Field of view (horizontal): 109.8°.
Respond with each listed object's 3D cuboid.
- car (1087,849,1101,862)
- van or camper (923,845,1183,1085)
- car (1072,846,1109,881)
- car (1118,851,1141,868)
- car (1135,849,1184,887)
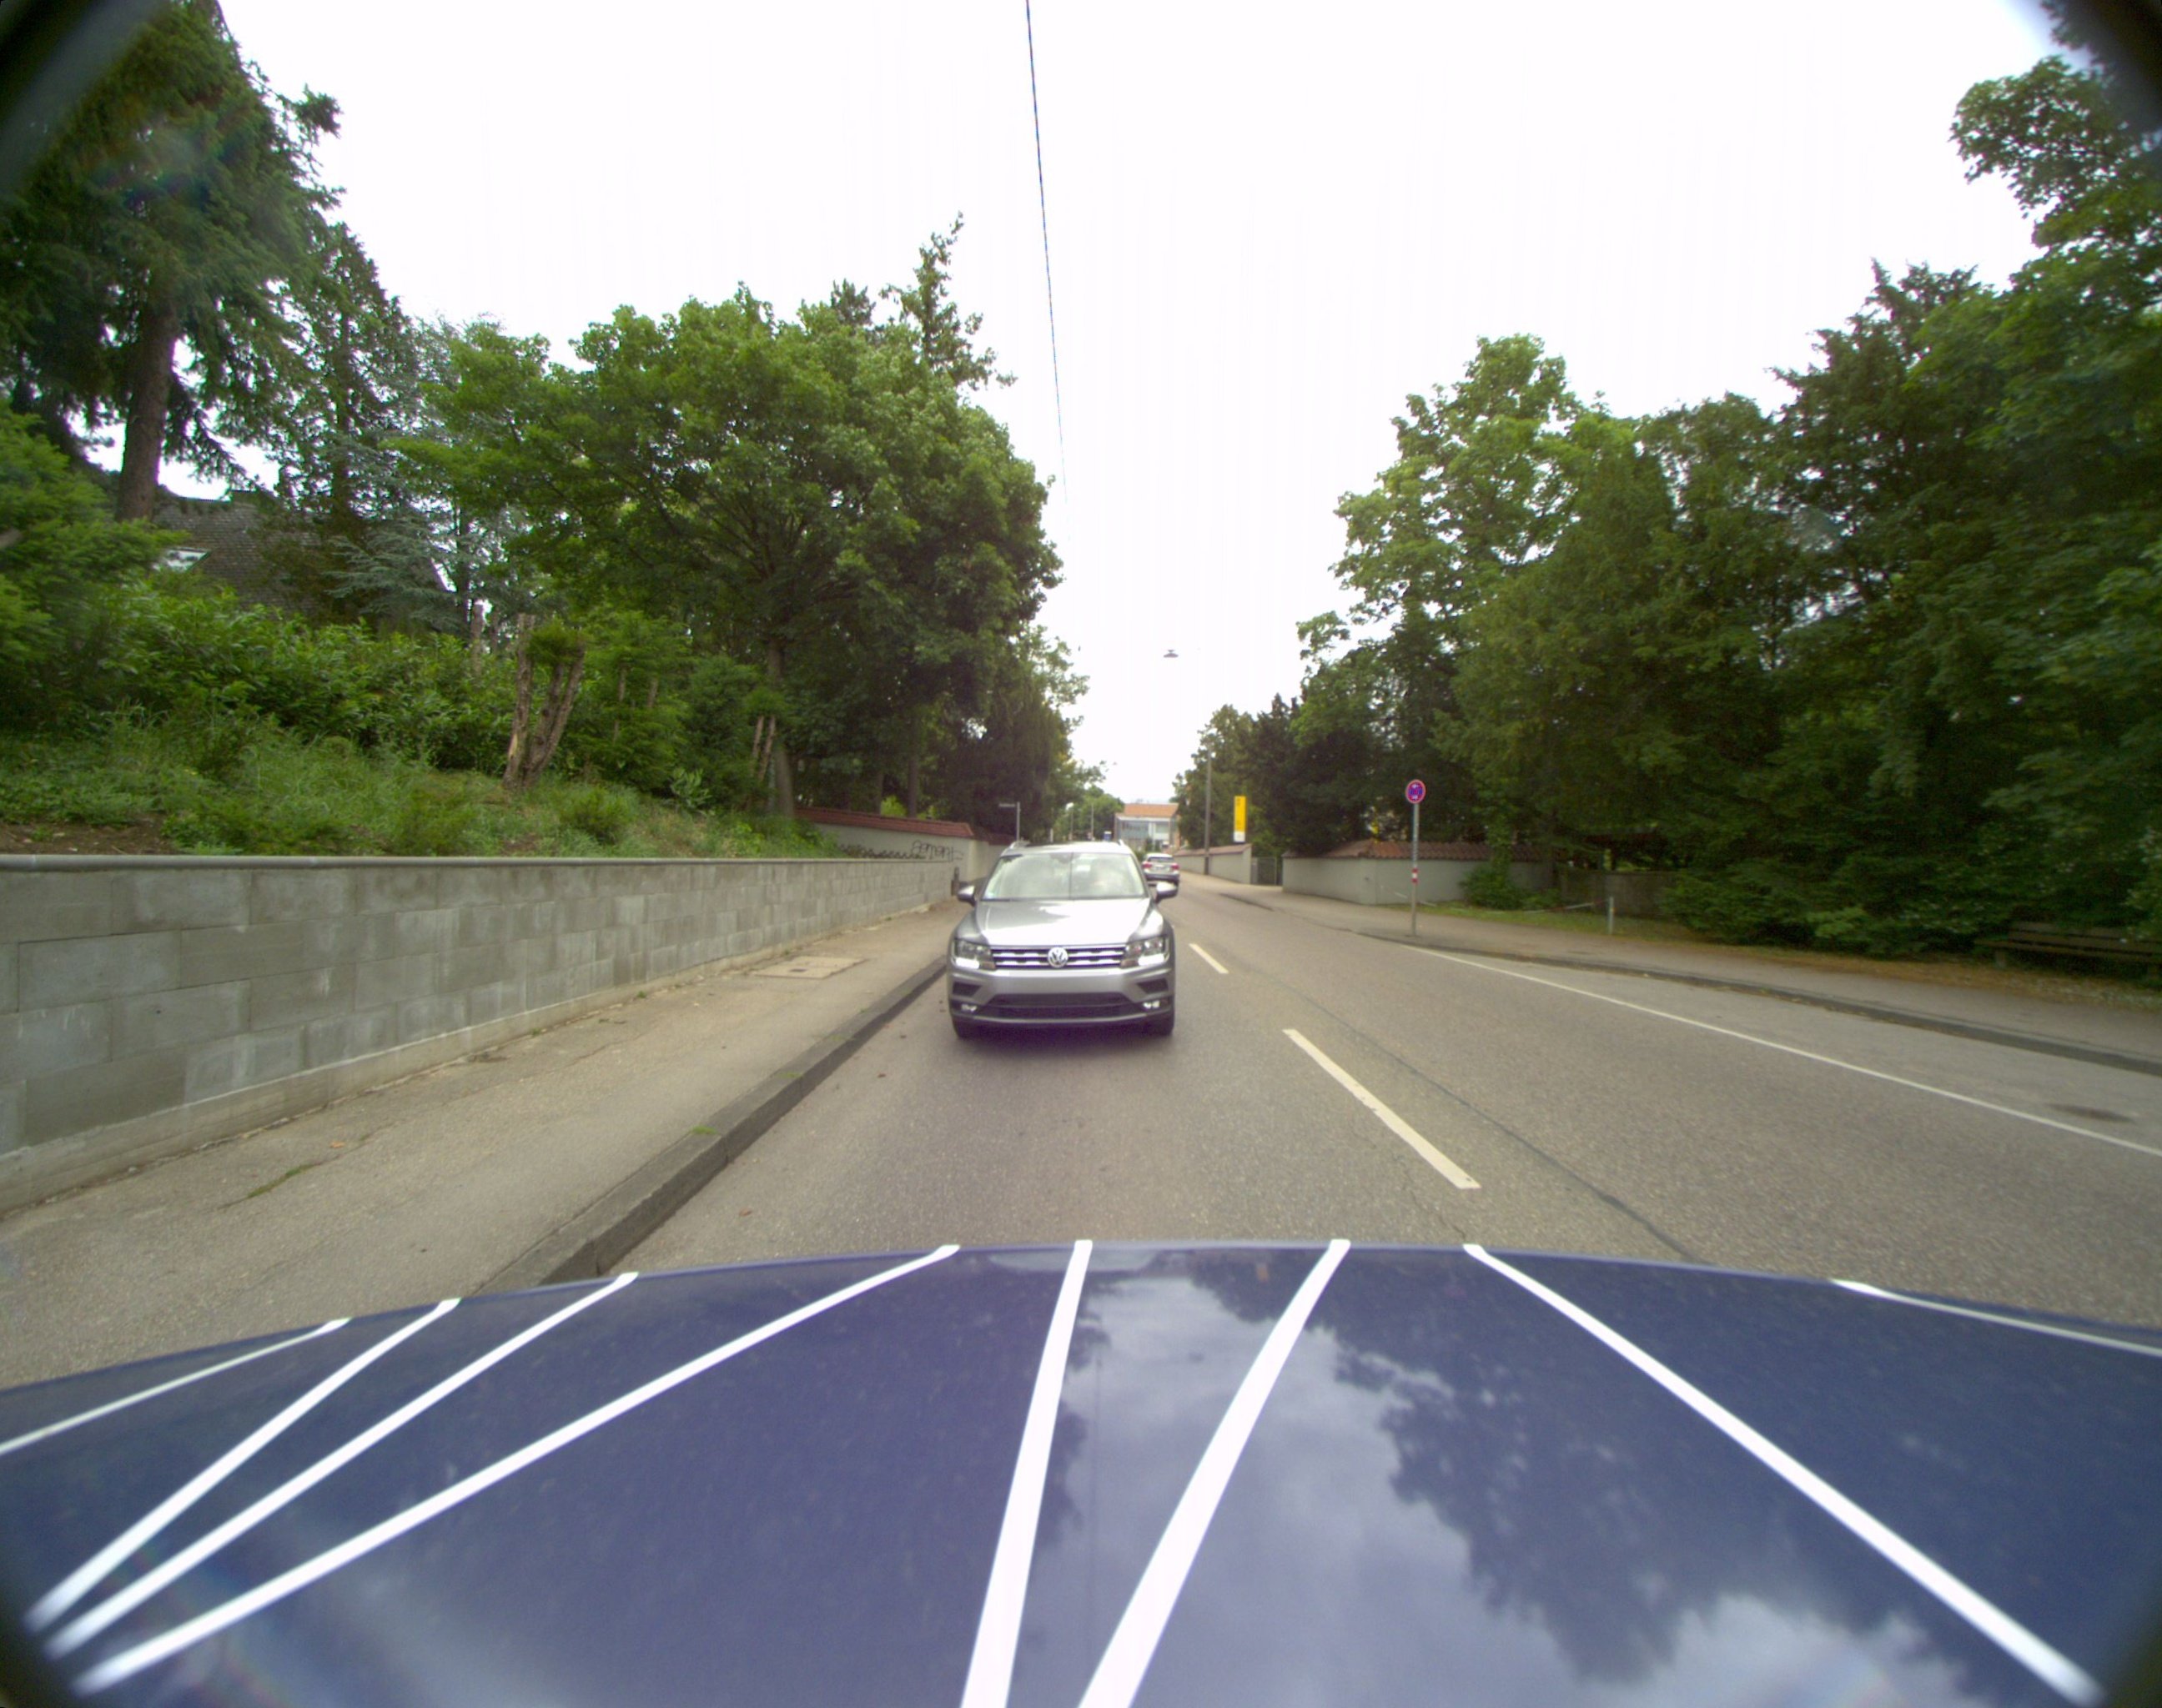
[{"bbox_3d":[1.809,0.155,103.629,1.864,1.648,4.305,-1,0,1],"label":"car"},{"bbox_3d":[-0.170,0.761,7.389,1.800,1.663,4.198,0,0,1],"label":"van or camper"},{"bbox_3d":[0.504,0.454,39.905,1.789,1.644,4.120,3,0,1],"label":"car"},{"bbox_3d":[4.504,0.486,70.804,1.864,1.445,4.110,3,0,1],"label":"car"},{"bbox_3d":[3.721,0.604,36.524,1.789,1.644,4.120,3,0,-1],"label":"car"}]
